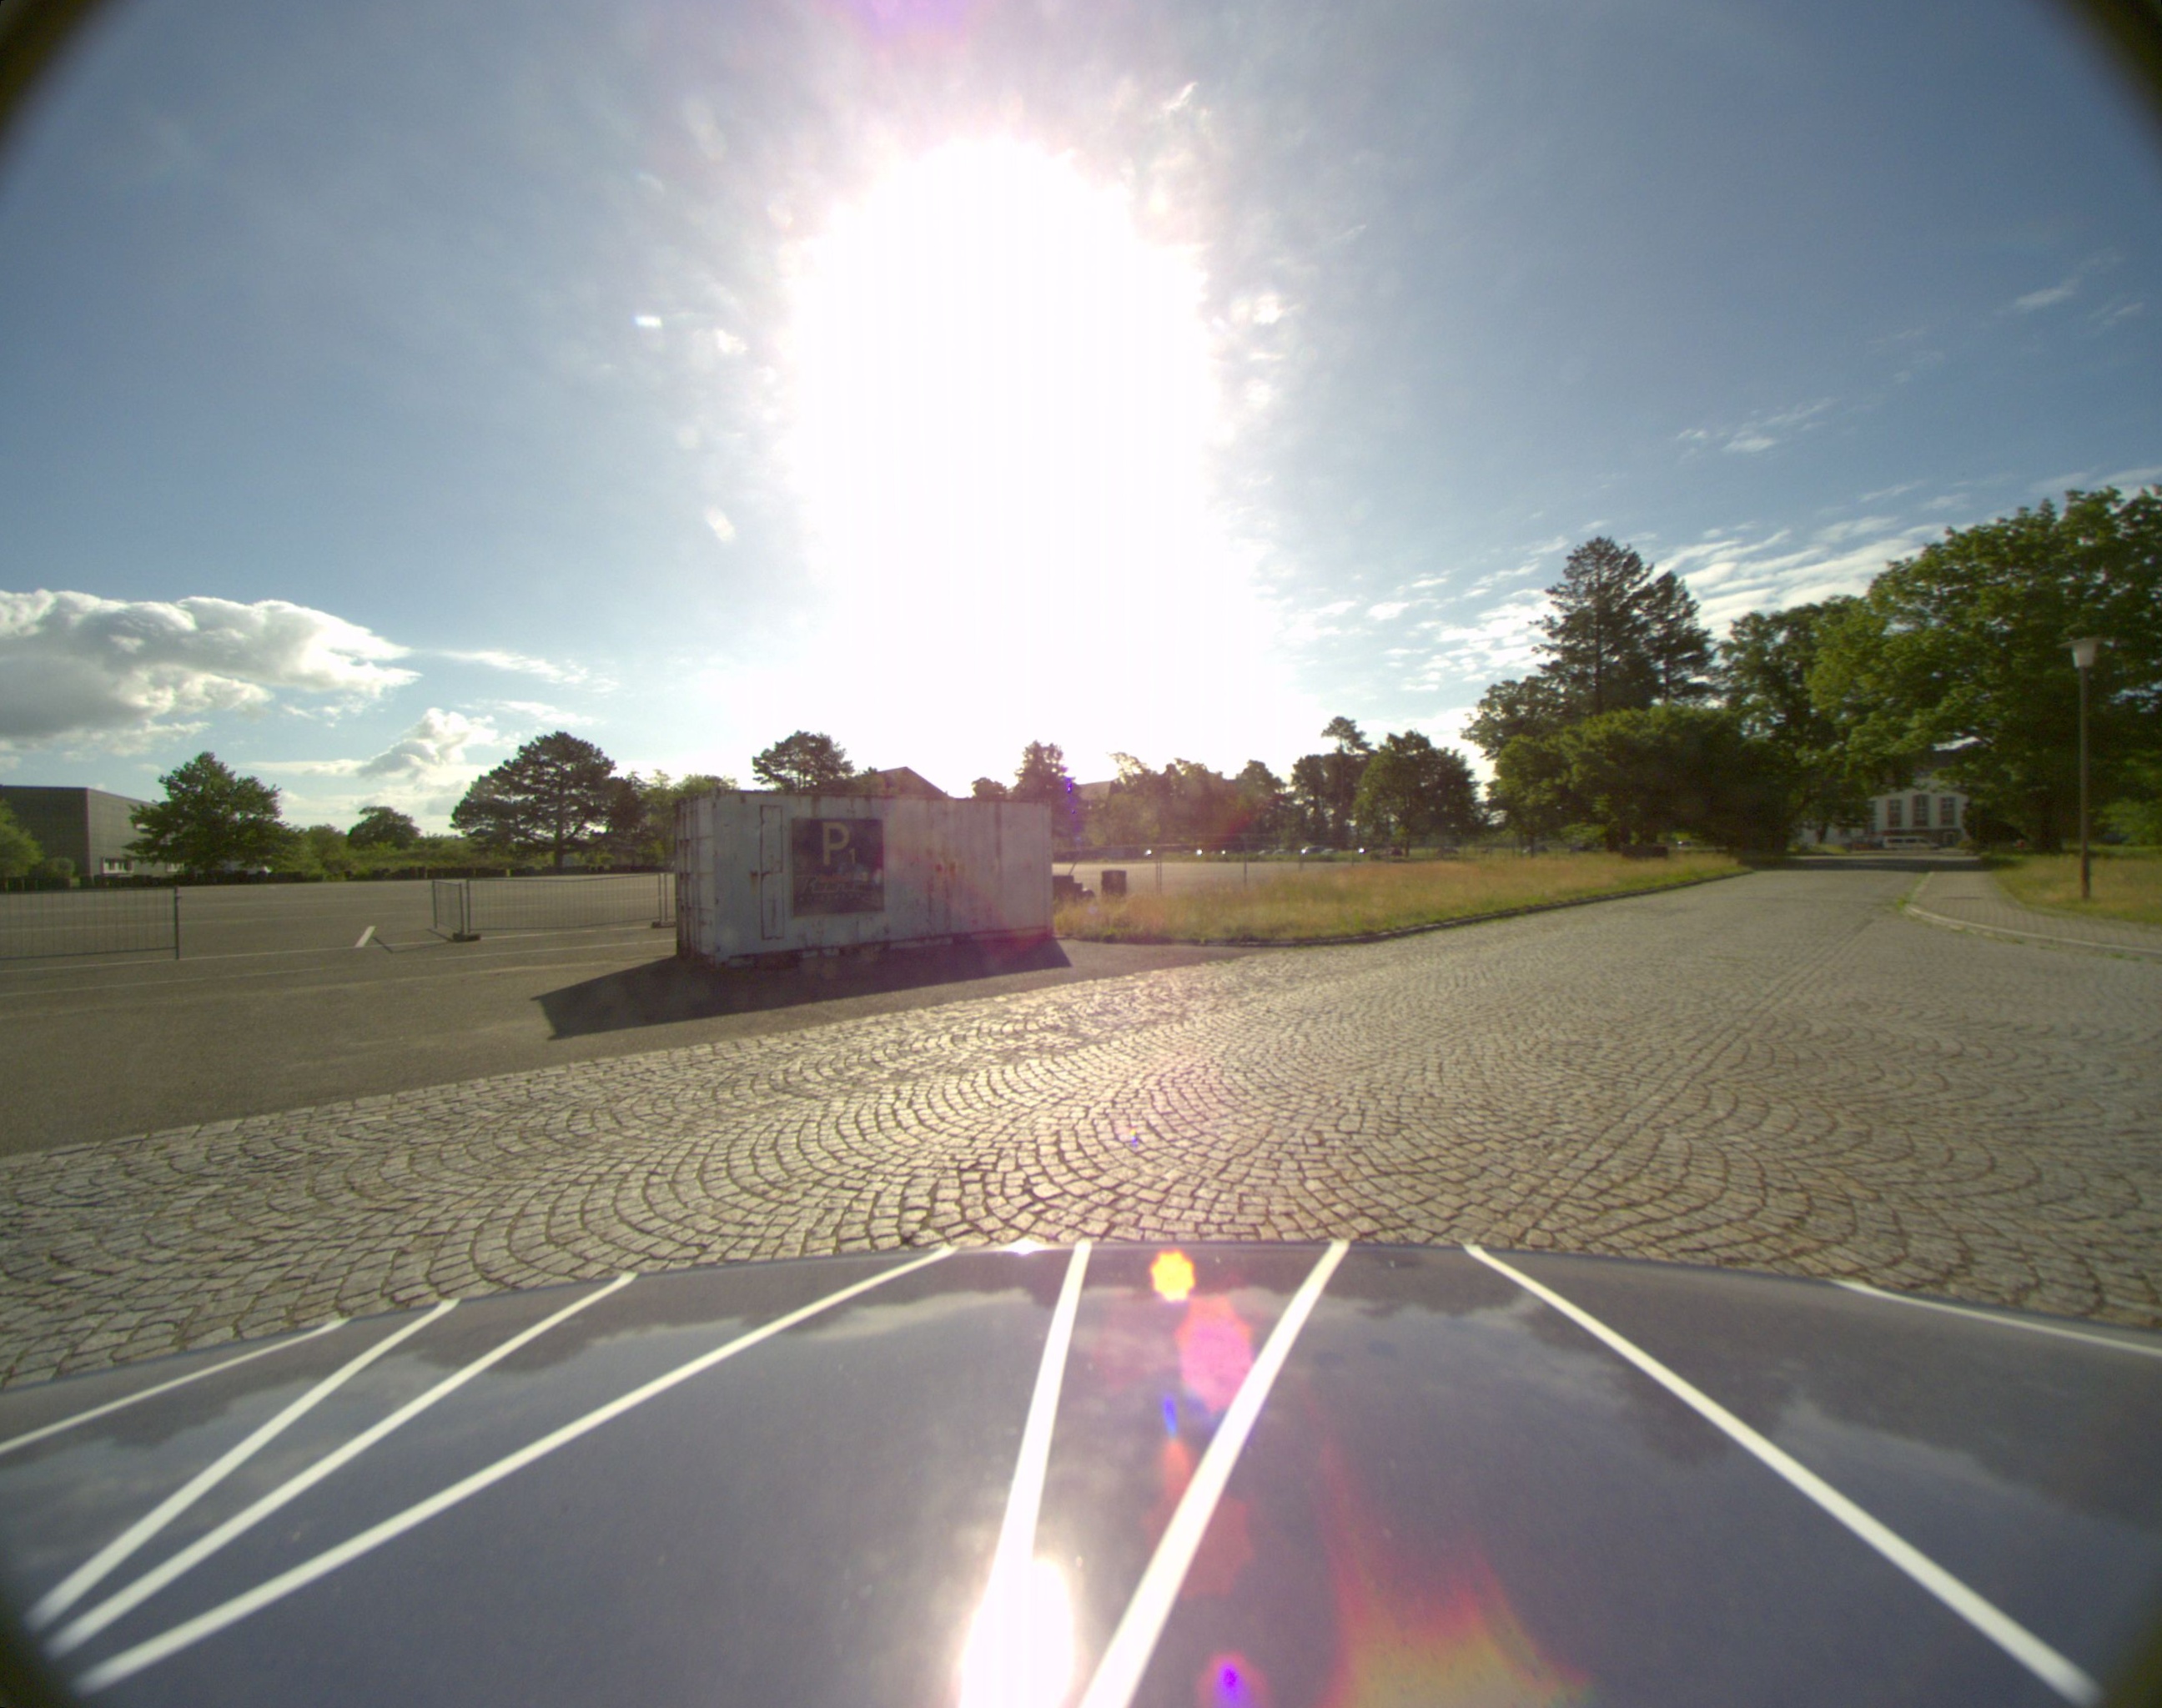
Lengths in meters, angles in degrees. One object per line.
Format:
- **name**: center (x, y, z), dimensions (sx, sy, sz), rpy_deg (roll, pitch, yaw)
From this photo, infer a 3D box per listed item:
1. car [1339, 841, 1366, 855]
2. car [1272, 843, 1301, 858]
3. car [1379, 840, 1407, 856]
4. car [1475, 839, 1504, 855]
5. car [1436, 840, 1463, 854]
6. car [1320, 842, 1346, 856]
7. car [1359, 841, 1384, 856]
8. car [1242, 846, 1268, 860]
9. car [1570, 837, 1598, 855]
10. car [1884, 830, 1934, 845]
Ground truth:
- **car**: center (38.774, -0.852, 108.489), dimensions (4.008, 2.002, 1.994), rpy_deg (-2, 1, -41)
- **car**: center (31.182, -0.576, 115.371), dimensions (4.007, 2.001, 1.996), rpy_deg (-2, -1, -34)
- **car**: center (42.177, -0.838, 102.600), dimensions (4.008, 2.002, 1.994), rpy_deg (-2, 1, -43)
- **car**: center (50.325, -0.858, 93.670), dimensions (4.008, 2.002, 1.994), rpy_deg (-2, 1, -44)
- **car**: center (46.998, -0.918, 96.915), dimensions (1.994, 1.805, 4.008), rpy_deg (0, 1, 42)
- **car**: center (36.341, -0.777, 109.550), dimensions (4.008, 1.936, 1.994), rpy_deg (-2, 1, -43)
- **car**: center (40.005, -0.799, 104.619), dimensions (1.994, 2.002, 4.008), rpy_deg (0, 1, 41)
- **car**: center (27.457, -0.141, 119.695), dimensions (4.008, 2.001, 1.995), rpy_deg (-2, -2, -43)
- **car**: center (56.462, -0.918, 85.266), dimensions (1.994, 2.002, 4.008), rpy_deg (0, 1, 42)
- **car**: center (118.707, -2.369, 108.951), dimensions (2.004, 2.083, 4.860), rpy_deg (-2, 1, -41)
